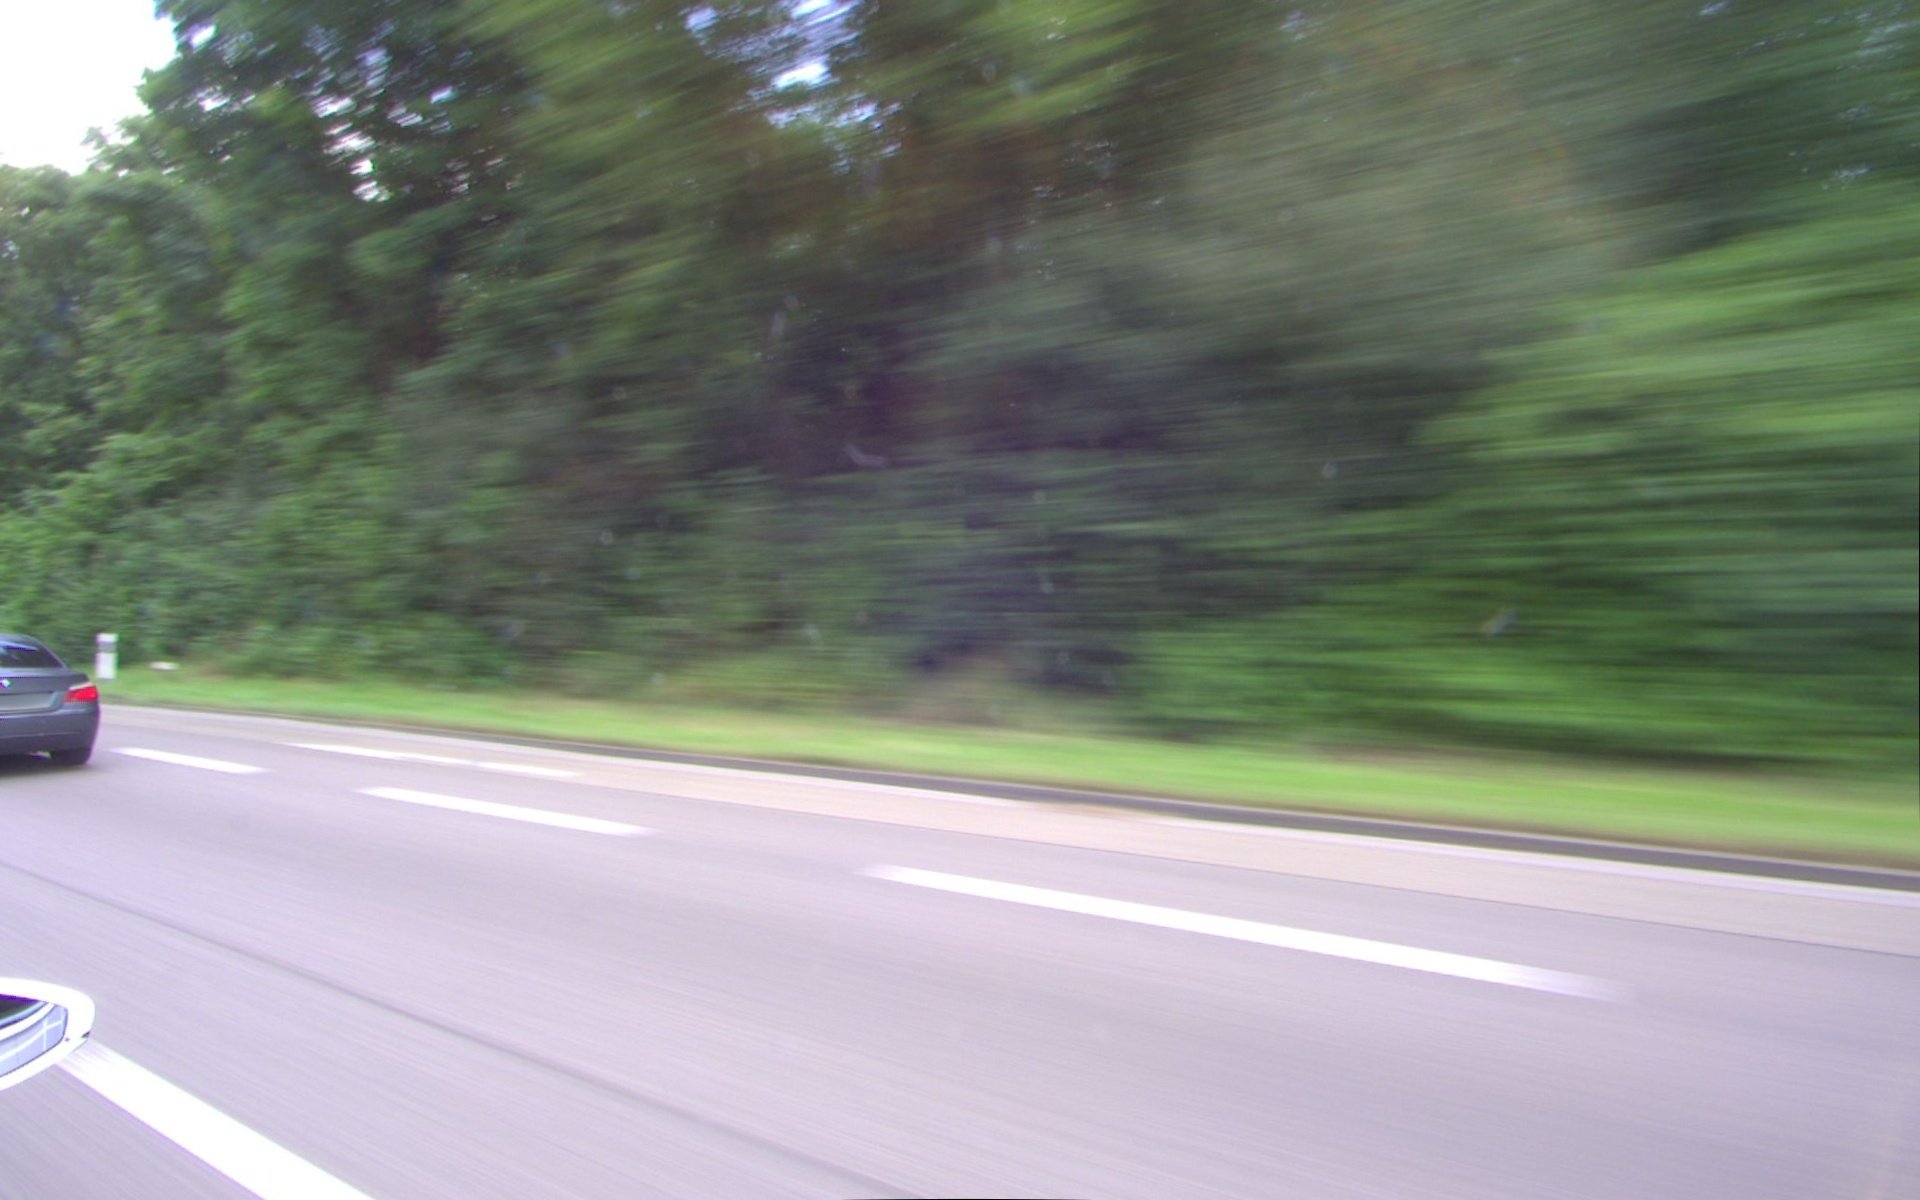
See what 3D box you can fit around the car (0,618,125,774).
[{"bbox_3d":[-11.222,0.951,10.979,4.810,1.494,1.771,-1,-2,32],"label":"car"}]
